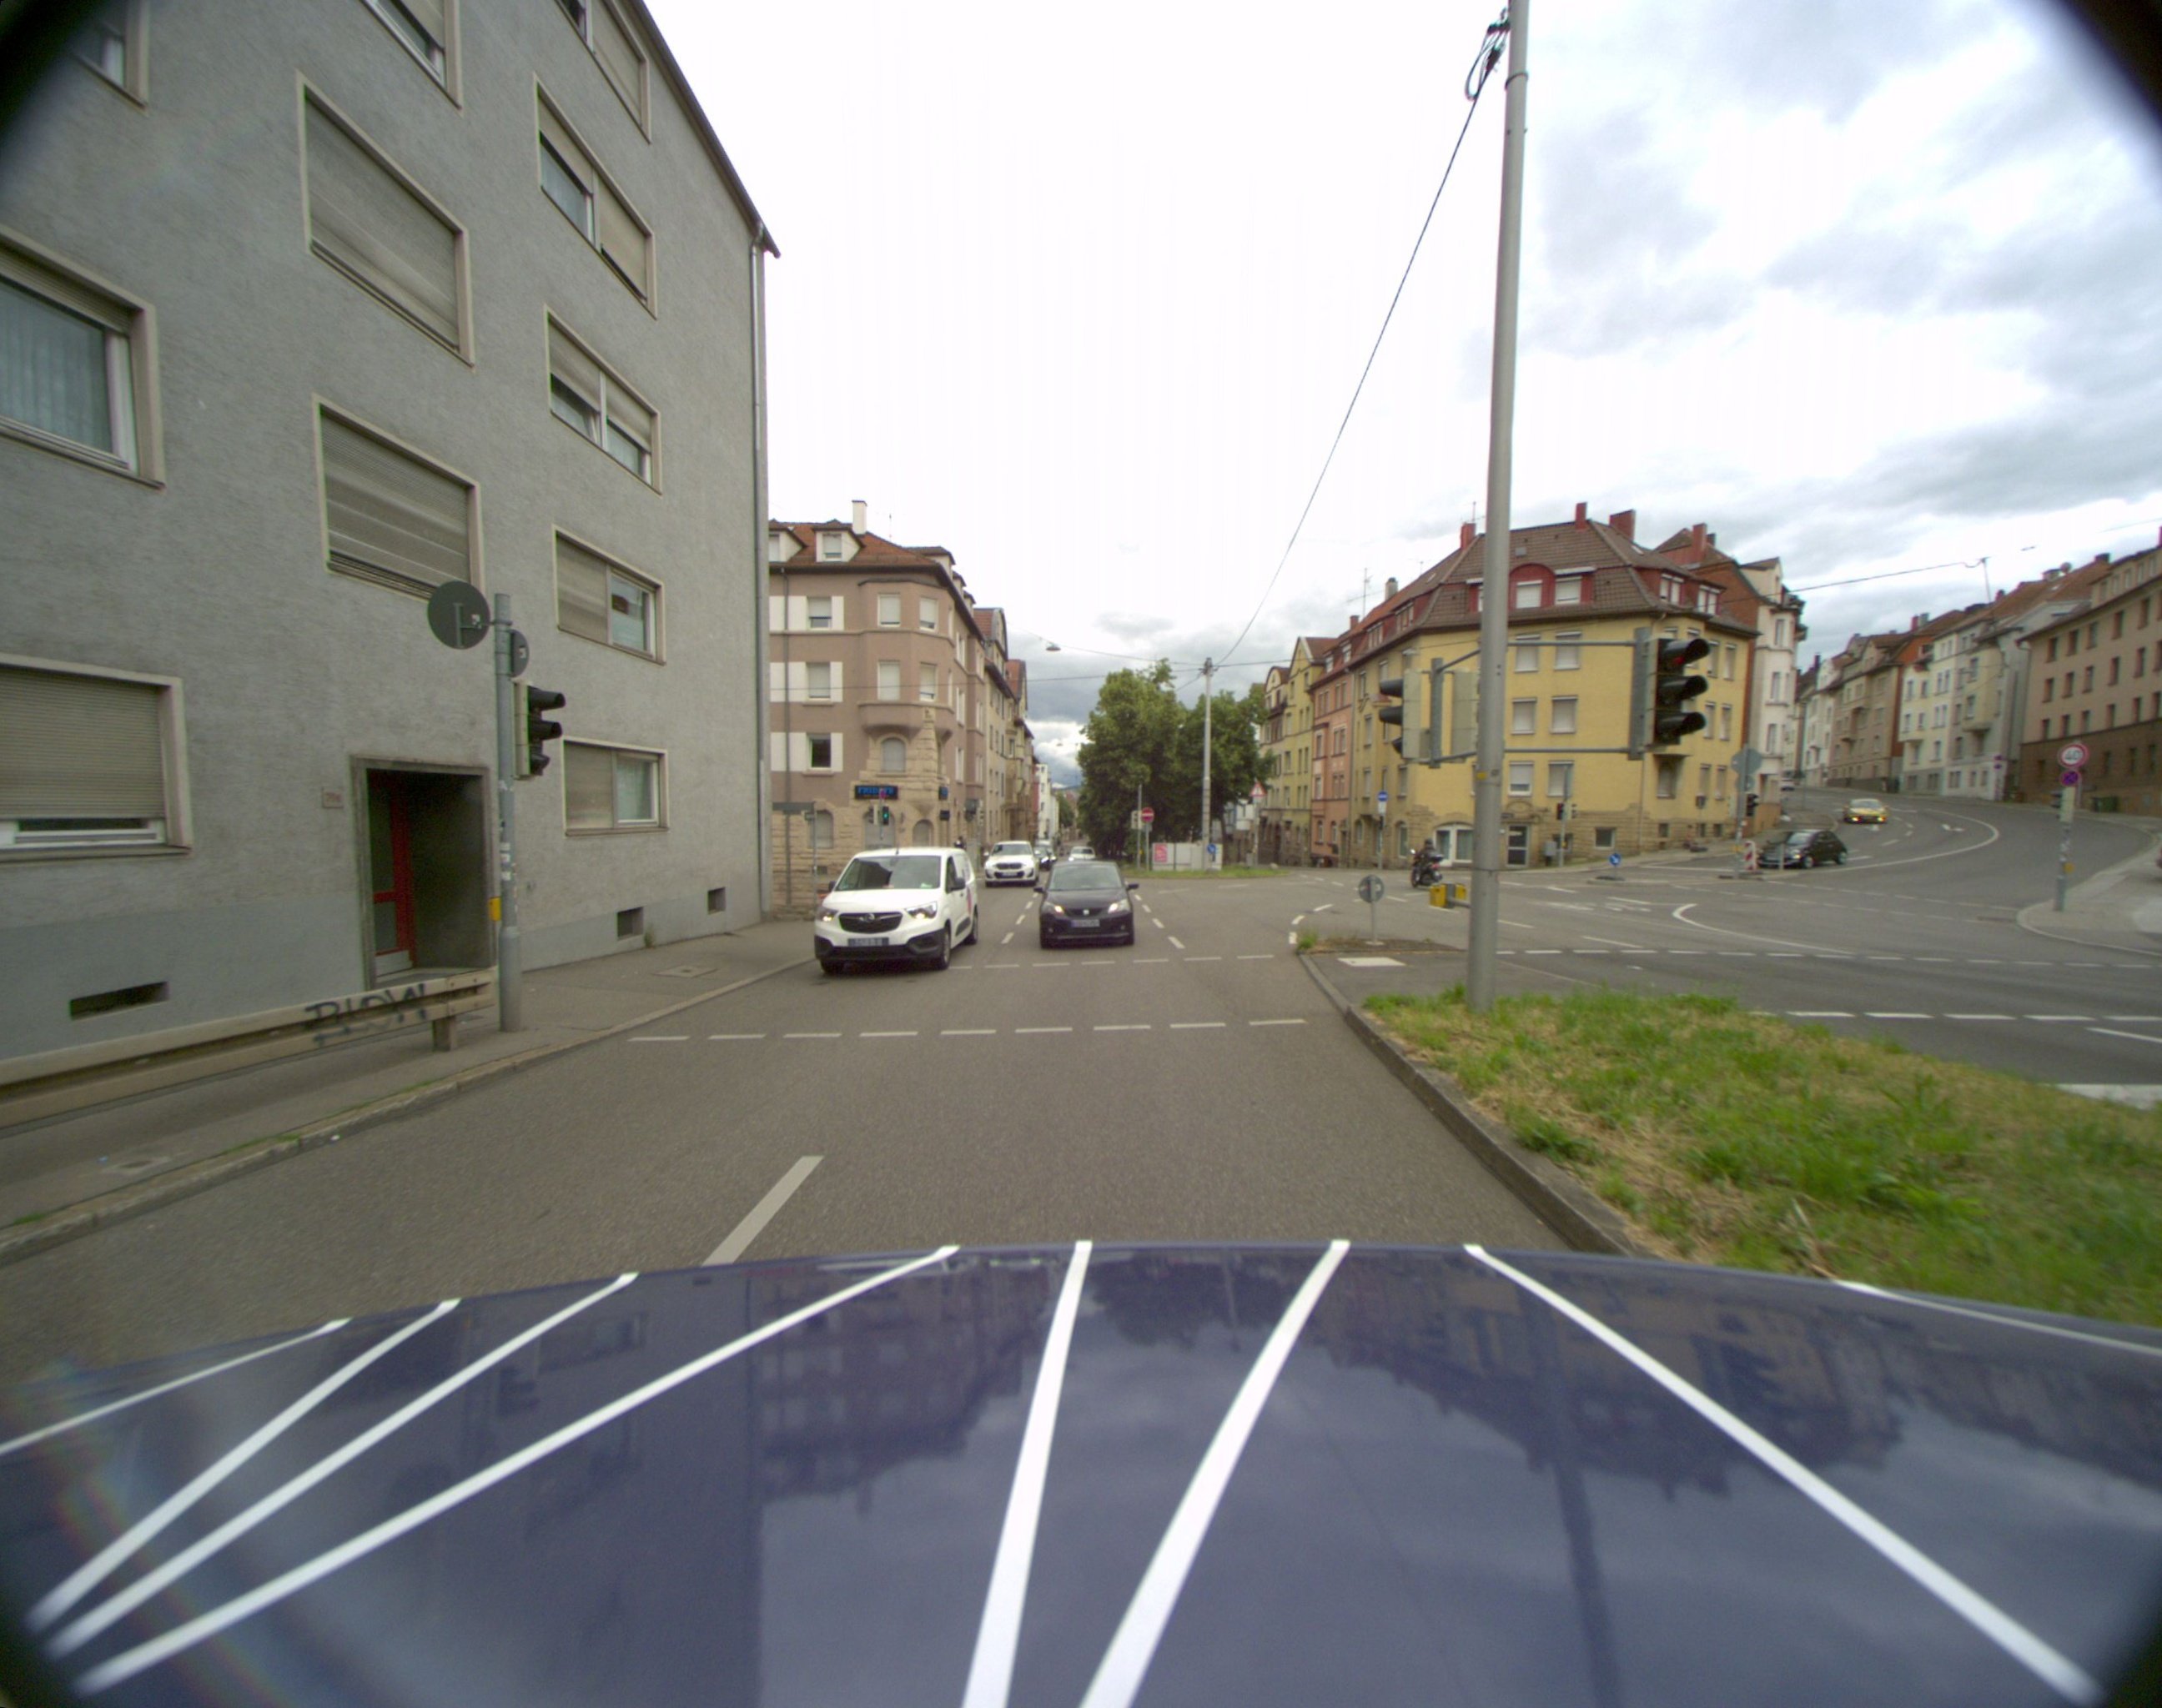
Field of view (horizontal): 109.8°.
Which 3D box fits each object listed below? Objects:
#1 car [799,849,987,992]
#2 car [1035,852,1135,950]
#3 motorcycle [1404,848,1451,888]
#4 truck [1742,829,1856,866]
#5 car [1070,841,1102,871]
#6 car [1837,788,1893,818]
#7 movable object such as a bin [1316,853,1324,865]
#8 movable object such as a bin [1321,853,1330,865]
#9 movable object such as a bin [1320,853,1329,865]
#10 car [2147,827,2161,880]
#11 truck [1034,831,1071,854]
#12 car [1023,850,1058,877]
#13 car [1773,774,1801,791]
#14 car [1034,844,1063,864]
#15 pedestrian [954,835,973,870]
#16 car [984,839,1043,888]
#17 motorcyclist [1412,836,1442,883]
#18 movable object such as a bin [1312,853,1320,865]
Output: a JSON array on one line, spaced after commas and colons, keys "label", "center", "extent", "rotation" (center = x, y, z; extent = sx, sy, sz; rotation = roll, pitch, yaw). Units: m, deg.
[{"label": "car", "center": [-2.756, 0.855, 12.344], "extent": [1.788, 1.779, 4.843], "rotation": [-1, 1, 0]}, {"label": "car", "center": [0.049, 0.763, 14.250], "extent": [1.604, 1.449, 3.682], "rotation": [-1, 2, -1]}, {"label": "motorcycle", "center": [11.023, 0.422, 24.265], "extent": [0.546, 1.178, 2.205], "rotation": [0, 2, 2]}, {"label": "truck", "center": [29.437, -0.282, 31.170], "extent": [4.004, 1.410, 1.849], "rotation": [-1, 1, -21]}, {"label": "car", "center": [0.258, 0.096, 46.399], "extent": [1.784, 1.584, 3.531], "rotation": [2, 2, -2]}, {"label": "car", "center": [50.746, -3.235, 49.249], "extent": [1.858, 1.711, 3.864], "rotation": [1, 1, 36]}, {"label": "movable object such as a bin", "center": [17.781, 0.378, 56.501], "extent": [0.487, 0.860, 0.449], "rotation": [1, 1, 6]}, {"label": "movable object such as a bin", "center": [17.806, 0.395, 55.316], "extent": [0.487, 0.860, 0.449], "rotation": [1, 1, 6]}, {"label": "movable object such as a bin", "center": [17.899, 0.388, 55.902], "extent": [0.487, 0.860, 0.449], "rotation": [1, 1, 6]}, {"label": "car", "center": [34.103, -0.028, 21.565], "extent": [1.685, 1.458, 4.287], "rotation": [-7, 5, -41]}, {"label": "truck", "center": [-3.629, -1.475, 99.336], "extent": [2.549, 2.891, 7.786], "rotation": [1, 1, 16]}, {"label": "car", "center": [-2.335, 0.518, 44.588], "extent": [1.780, 1.434, 4.163], "rotation": [-2, 0, 0]}, {"label": "car", "center": [85.306, -8.610, 91.852], "extent": [1.858, 1.711, 3.863], "rotation": [1, 1, 32]}, {"label": "car", "center": [-2.452, -0.035, 57.845], "extent": [1.841, 1.477, 4.000], "rotation": [1, 1, 2]}, {"label": "pedestrian", "center": [-5.589, -0.097, 36.136], "extent": [0.735, 1.638, 1.004], "rotation": [-1, 1, -2]}, {"label": "car", "center": [-2.450, 0.315, 28.412], "extent": [1.780, 1.598, 4.163], "rotation": [-2, 0, 0]}, {"label": "motorcyclist", "center": [11.029, 0.175, 24.225], "extent": [0.674, 1.467, 0.662], "rotation": [0, 2, 2]}, {"label": "movable object such as a bin", "center": [17.875, 0.362, 57.726], "extent": [0.487, 0.860, 0.449], "rotation": [1, 1, 6]}]
